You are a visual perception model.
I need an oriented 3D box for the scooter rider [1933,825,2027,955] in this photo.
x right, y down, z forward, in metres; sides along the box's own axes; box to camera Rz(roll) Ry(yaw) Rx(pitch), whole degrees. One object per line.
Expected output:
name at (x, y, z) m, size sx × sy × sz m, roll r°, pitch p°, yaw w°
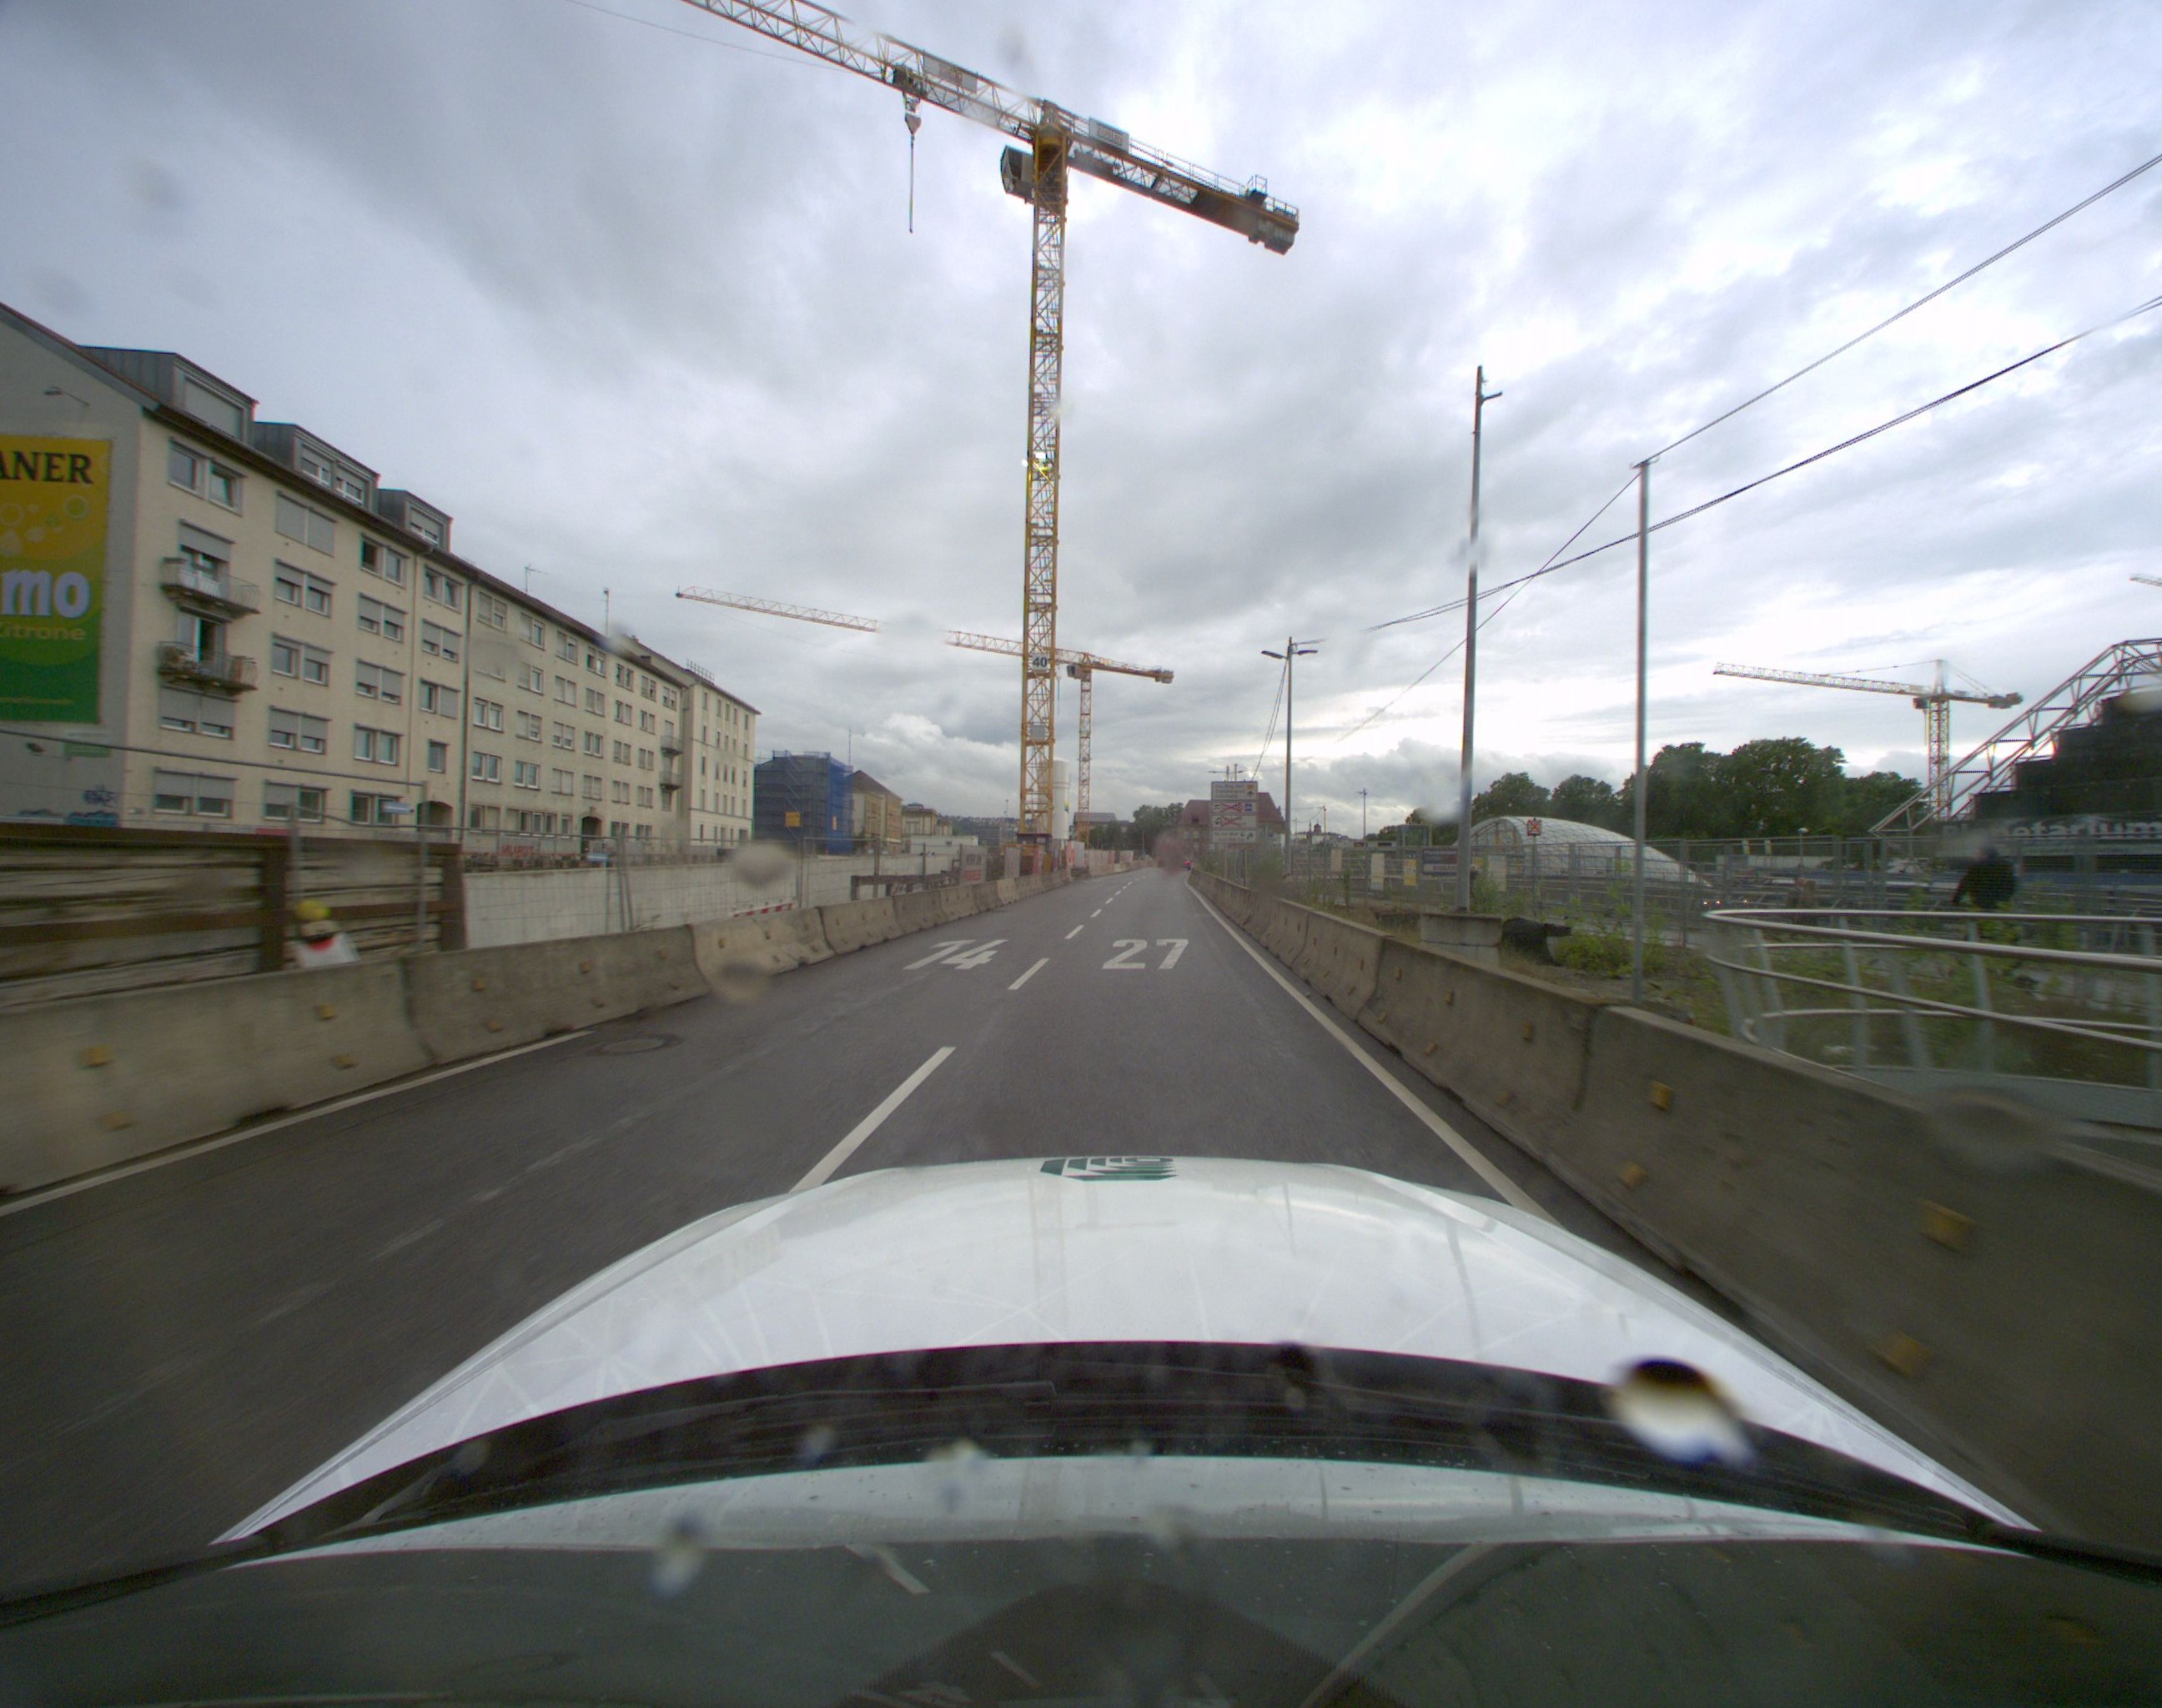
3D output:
scooter rider at (12.540, 0.488, 11.379) m, size 0.519 × 1.755 × 0.700 m, roll -1°, pitch 0°, yaw 3°

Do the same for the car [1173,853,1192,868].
car at (10.798, 0.702, 87.152) m, size 1.854 × 1.433 × 4.662 m, roll 2°, pitch 0°, yaw 5°

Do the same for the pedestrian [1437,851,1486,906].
pedestrian at (11.795, 0.763, 25.245) m, size 1.024 × 1.658 × 0.892 m, roll 0°, pitch -1°, yaw -24°

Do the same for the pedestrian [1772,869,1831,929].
pedestrian at (18.206, 1.110, 20.588) m, size 0.693 × 1.472 × 0.884 m, roll 0°, pitch -1°, yaw -27°

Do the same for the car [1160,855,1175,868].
car at (11.288, 0.920, 106.056) m, size 1.852 × 1.660 × 4.666 m, roll 1°, pitch 0°, yaw 8°

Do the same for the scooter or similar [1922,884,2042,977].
scooter or similar at (12.545, 1.040, 11.380) m, size 0.488 × 1.179 × 1.097 m, roll -1°, pitch 0°, yaw 3°

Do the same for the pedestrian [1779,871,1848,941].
pedestrian at (17.713, 1.222, 19.706) m, size 0.693 × 1.632 × 1.014 m, roll 0°, pitch -1°, yaw -27°

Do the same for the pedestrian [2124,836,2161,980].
pedestrian at (13.724, 0.665, 9.914) m, size 0.688 × 1.778 × 1.022 m, roll -1°, pitch -1°, yaw -2°
